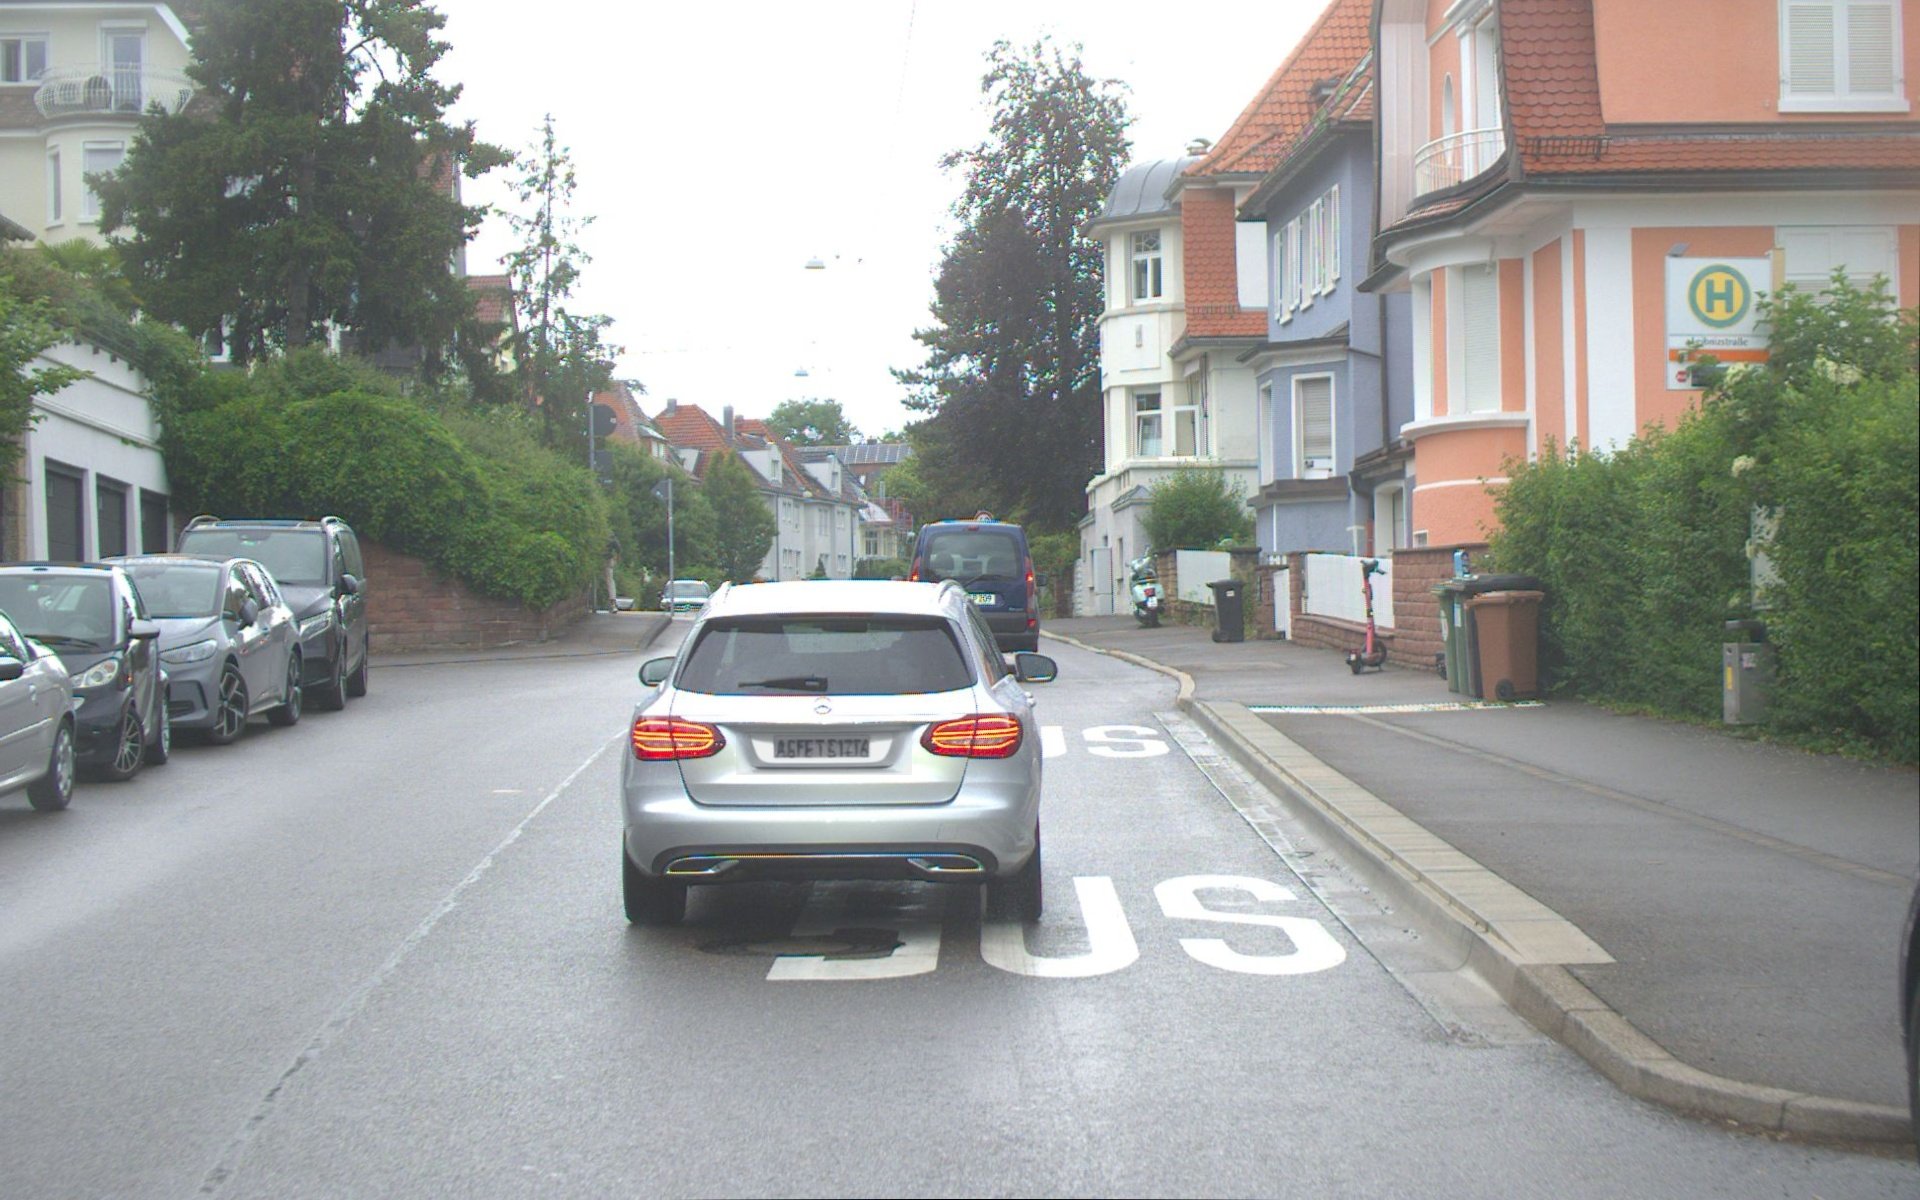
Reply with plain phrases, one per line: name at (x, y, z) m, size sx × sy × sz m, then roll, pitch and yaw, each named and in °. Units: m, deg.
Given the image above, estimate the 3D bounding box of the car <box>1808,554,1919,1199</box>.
car at (3.109, 0.672, 6.573) m, size 1.753 × 1.525 × 4.206 m, roll 0°, pitch 1°, yaw -3°

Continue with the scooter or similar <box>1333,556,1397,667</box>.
scooter or similar at (4.585, 0.118, 38.952) m, size 0.693 × 1.220 × 1.299 m, roll -1°, pitch 1°, yaw 6°

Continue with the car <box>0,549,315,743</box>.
car at (-6.831, 0.336, 29.566) m, size 1.898 × 1.510 × 4.343 m, roll 0°, pitch 1°, yaw -2°

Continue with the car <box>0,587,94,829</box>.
car at (-6.301, 0.633, 20.110) m, size 1.609 × 1.333 × 3.841 m, roll 0°, pitch 1°, yaw -2°

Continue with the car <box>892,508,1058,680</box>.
car at (0.190, -0.125, 42.815) m, size 1.824 × 1.876 × 4.095 m, roll -4°, pitch 2°, yaw 0°

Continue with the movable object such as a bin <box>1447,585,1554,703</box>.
movable object such as a bin at (4.564, 0.364, 29.046) m, size 0.569 × 0.965 × 0.670 m, roll 0°, pitch 1°, yaw -34°

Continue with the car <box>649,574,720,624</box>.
car at (-8.705, -0.050, 108.886) m, size 2.117 × 1.466 × 4.018 m, roll -1°, pitch 1°, yaw -3°

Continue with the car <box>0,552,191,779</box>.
car at (-6.574, 0.431, 25.138) m, size 1.496 × 1.518 × 3.160 m, roll -1°, pitch 1°, yaw -6°

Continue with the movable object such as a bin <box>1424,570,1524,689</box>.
movable object such as a bin at (4.627, 0.259, 30.997) m, size 0.711 × 1.026 × 0.757 m, roll -3°, pitch 1°, yaw -3°

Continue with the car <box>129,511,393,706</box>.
car at (-7.093, 0.029, 35.439) m, size 2.128 × 1.853 × 5.595 m, roll 0°, pitch 1°, yaw -6°

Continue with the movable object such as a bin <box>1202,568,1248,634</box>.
movable object such as a bin at (3.903, 0.014, 50.619) m, size 0.549 × 0.932 × 0.634 m, roll -4°, pitch 1°, yaw -2°

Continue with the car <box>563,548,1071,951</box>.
car at (-0.589, 0.556, 15.600) m, size 1.982 × 1.548 × 4.298 m, roll 0°, pitch 1°, yaw -1°

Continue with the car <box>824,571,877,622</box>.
car at (-5.629, -0.182, 177.491) m, size 2.467 × 2.391 × 4.000 m, roll -4°, pitch 1°, yaw 0°

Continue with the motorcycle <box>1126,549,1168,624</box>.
motorcycle at (3.278, -0.243, 60.357) m, size 0.582 × 1.257 × 2.331 m, roll -3°, pitch 1°, yaw 1°
